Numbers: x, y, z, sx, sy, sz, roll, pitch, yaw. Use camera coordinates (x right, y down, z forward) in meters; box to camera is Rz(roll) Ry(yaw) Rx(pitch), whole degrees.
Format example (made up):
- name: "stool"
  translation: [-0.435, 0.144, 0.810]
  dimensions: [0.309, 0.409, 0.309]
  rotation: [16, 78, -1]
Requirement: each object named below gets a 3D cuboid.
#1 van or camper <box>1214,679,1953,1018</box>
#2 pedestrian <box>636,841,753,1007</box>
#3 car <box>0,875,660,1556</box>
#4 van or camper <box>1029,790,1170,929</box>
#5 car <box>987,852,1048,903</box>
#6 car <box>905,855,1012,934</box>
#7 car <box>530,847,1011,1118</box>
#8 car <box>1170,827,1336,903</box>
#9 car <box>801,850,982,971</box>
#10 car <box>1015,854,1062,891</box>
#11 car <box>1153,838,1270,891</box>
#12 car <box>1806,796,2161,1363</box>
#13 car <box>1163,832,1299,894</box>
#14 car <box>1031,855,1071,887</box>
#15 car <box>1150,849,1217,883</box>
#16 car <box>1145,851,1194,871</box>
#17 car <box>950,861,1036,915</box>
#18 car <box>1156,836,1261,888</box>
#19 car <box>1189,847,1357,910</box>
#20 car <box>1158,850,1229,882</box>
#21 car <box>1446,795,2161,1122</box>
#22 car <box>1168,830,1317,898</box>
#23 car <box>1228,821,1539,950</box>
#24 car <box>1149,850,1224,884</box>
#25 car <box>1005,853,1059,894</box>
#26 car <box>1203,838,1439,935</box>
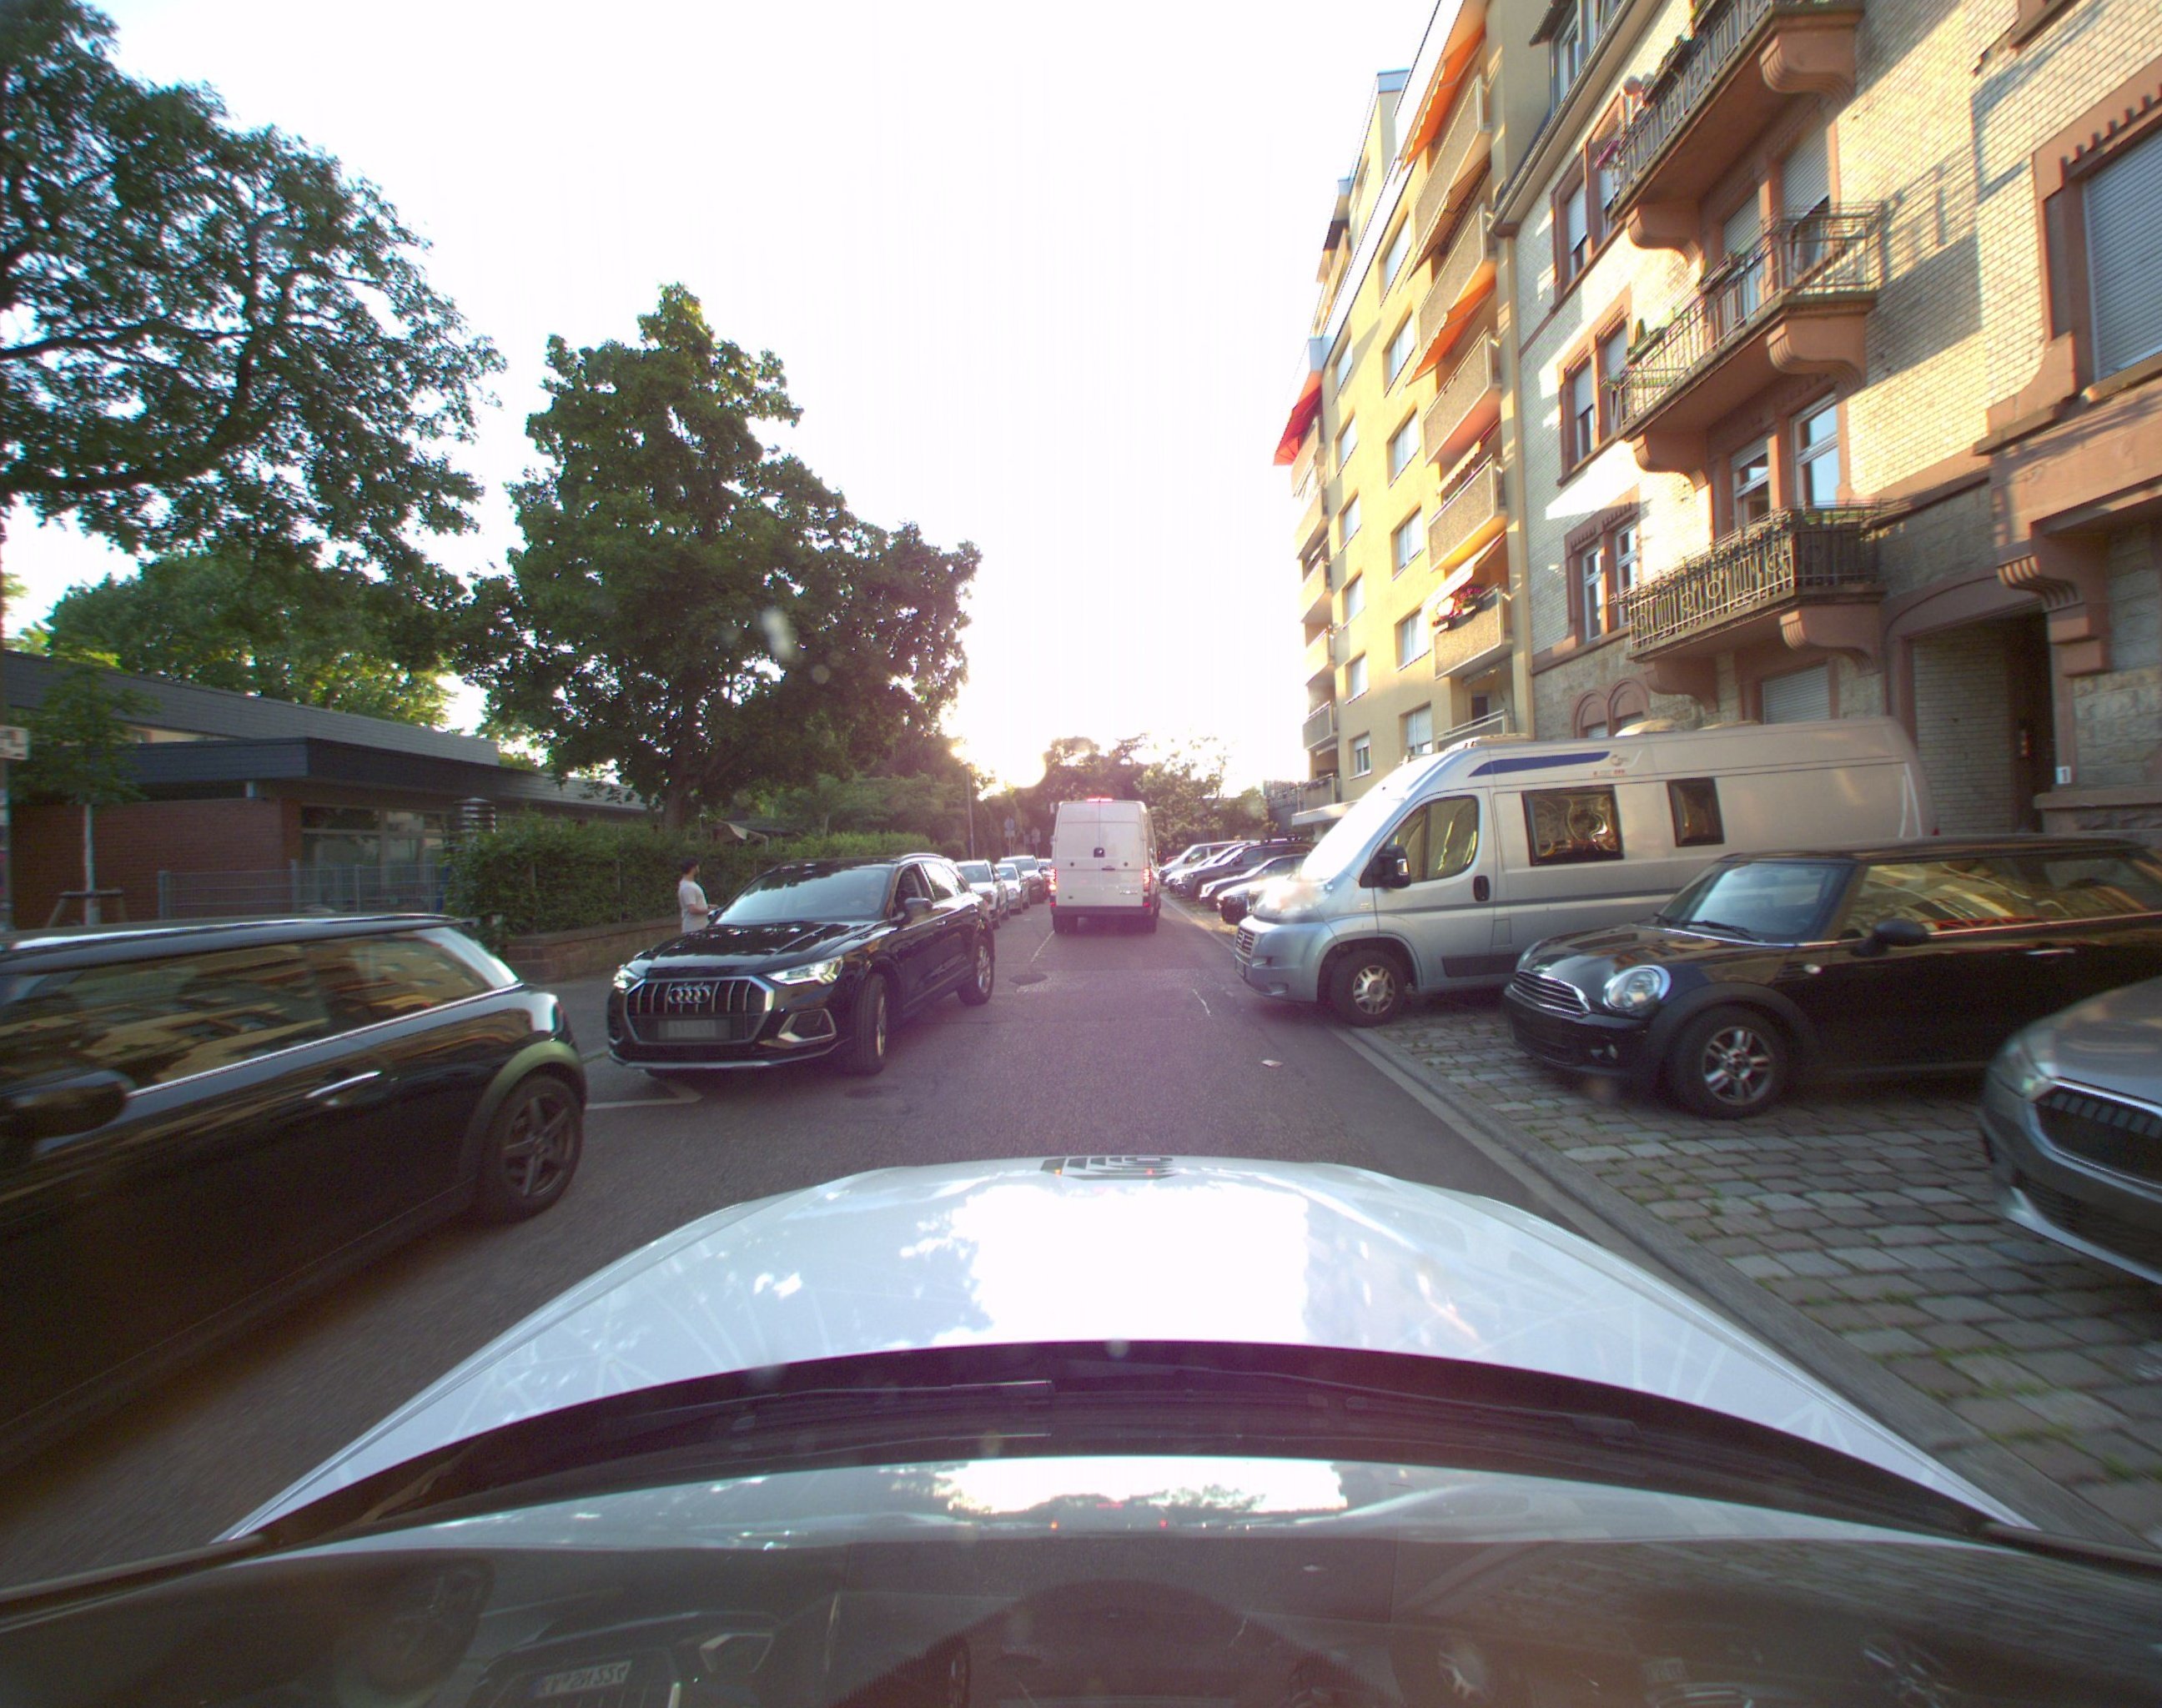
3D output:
- name: "van or camper"
  translation: [4.434, -0.041, 7.987]
  dimensions: [5.908, 2.770, 2.110]
  rotation: [-1, 0, 0]
- name: "pedestrian"
  translation: [-4.445, 0.777, 9.427]
  dimensions: [0.934, 1.830, 0.787]
  rotation: [-1, -1, 0]
- name: "car"
  translation: [-3.271, 0.905, 2.497]
  dimensions: [1.630, 1.478, 3.995]
  rotation: [-4, 0, 3]
- name: "van or camper"
  translation: [0.664, 0.112, 18.087]
  dimensions: [2.440, 2.547, 6.096]
  rotation: [0, 0, 8]
- name: "car"
  translation: [-2.228, 0.795, 29.423]
  dimensions: [1.988, 1.662, 3.997]
  rotation: [-1, 0, -2]
- name: "car"
  translation: [-2.737, 0.852, 19.107]
  dimensions: [1.850, 1.555, 4.098]
  rotation: [-4, 0, -1]
- name: "car"
  translation: [-2.087, 0.784, 7.120]
  dimensions: [1.793, 1.569, 4.577]
  rotation: [-3, 0, 9]
- name: "car"
  translation: [5.224, 0.331, 25.211]
  dimensions: [4.690, 2.145, 2.000]
  rotation: [-1, 0, 0]
- name: "car"
  translation: [-3.016, 0.831, 13.882]
  dimensions: [1.775, 1.631, 4.004]
  rotation: [-4, 0, 4]
- name: "car"
  translation: [-1.966, 0.843, 38.944]
  dimensions: [1.987, 1.618, 4.000]
  rotation: [-1, 0, 0]
- name: "car"
  translation: [5.548, 0.434, 35.028]
  dimensions: [4.690, 2.145, 2.000]
  rotation: [-1, 0, 0]
- name: "car"
  translation: [4.889, 0.479, 2.258]
  dimensions: [3.978, 1.515, 2.017]
  rotation: [-5, 0, -3]
- name: "car"
  translation: [5.507, 0.333, 30.348]
  dimensions: [4.690, 2.145, 2.000]
  rotation: [-1, 0, 0]
- name: "car"
  translation: [-1.591, 0.913, 44.657]
  dimensions: [1.987, 1.618, 4.000]
  rotation: [-1, 0, 0]
- name: "car"
  translation: [6.282, 0.739, 50.431]
  dimensions: [3.970, 2.013, 2.002]
  rotation: [-1, 0, 3]
- name: "car"
  translation: [7.628, 0.592, 70.368]
  dimensions: [3.976, 1.618, 1.999]
  rotation: [-1, 0, -2]
- name: "car"
  translation: [-2.512, 0.943, 24.204]
  dimensions: [1.986, 1.398, 4.001]
  rotation: [-1, 0, 1]
- name: "car"
  translation: [5.746, 0.371, 37.210]
  dimensions: [4.480, 2.230, 2.032]
  rotation: [-1, 0, 1]
- name: "car"
  translation: [5.237, 0.660, 22.594]
  dimensions: [4.222, 1.425, 1.720]
  rotation: [-4, 0, 1]
- name: "car"
  translation: [6.605, 0.698, 48.101]
  dimensions: [3.971, 1.728, 2.001]
  rotation: [-1, 0, 2]
- name: "car"
  translation: [4.691, 0.537, 5.112]
  dimensions: [3.919, 1.486, 1.788]
  rotation: [-4, -2, 3]
- name: "car"
  translation: [5.434, 0.331, 27.920]
  dimensions: [4.690, 2.145, 2.000]
  rotation: [-1, 0, 0]
- name: "car"
  translation: [4.854, 0.479, 13.434]
  dimensions: [4.426, 1.728, 1.770]
  rotation: [-3, 0, -5]
- name: "car"
  translation: [5.780, 0.699, 45.081]
  dimensions: [3.971, 1.728, 2.001]
  rotation: [-1, 0, 2]
- name: "car"
  translation: [-2.010, 0.795, 34.629]
  dimensions: [1.987, 1.618, 4.000]
  rotation: [-1, 0, 0]
- name: "car"
  translation: [4.577, 0.603, 15.955]
  dimensions: [3.977, 1.453, 1.834]
  rotation: [-5, 0, -3]
